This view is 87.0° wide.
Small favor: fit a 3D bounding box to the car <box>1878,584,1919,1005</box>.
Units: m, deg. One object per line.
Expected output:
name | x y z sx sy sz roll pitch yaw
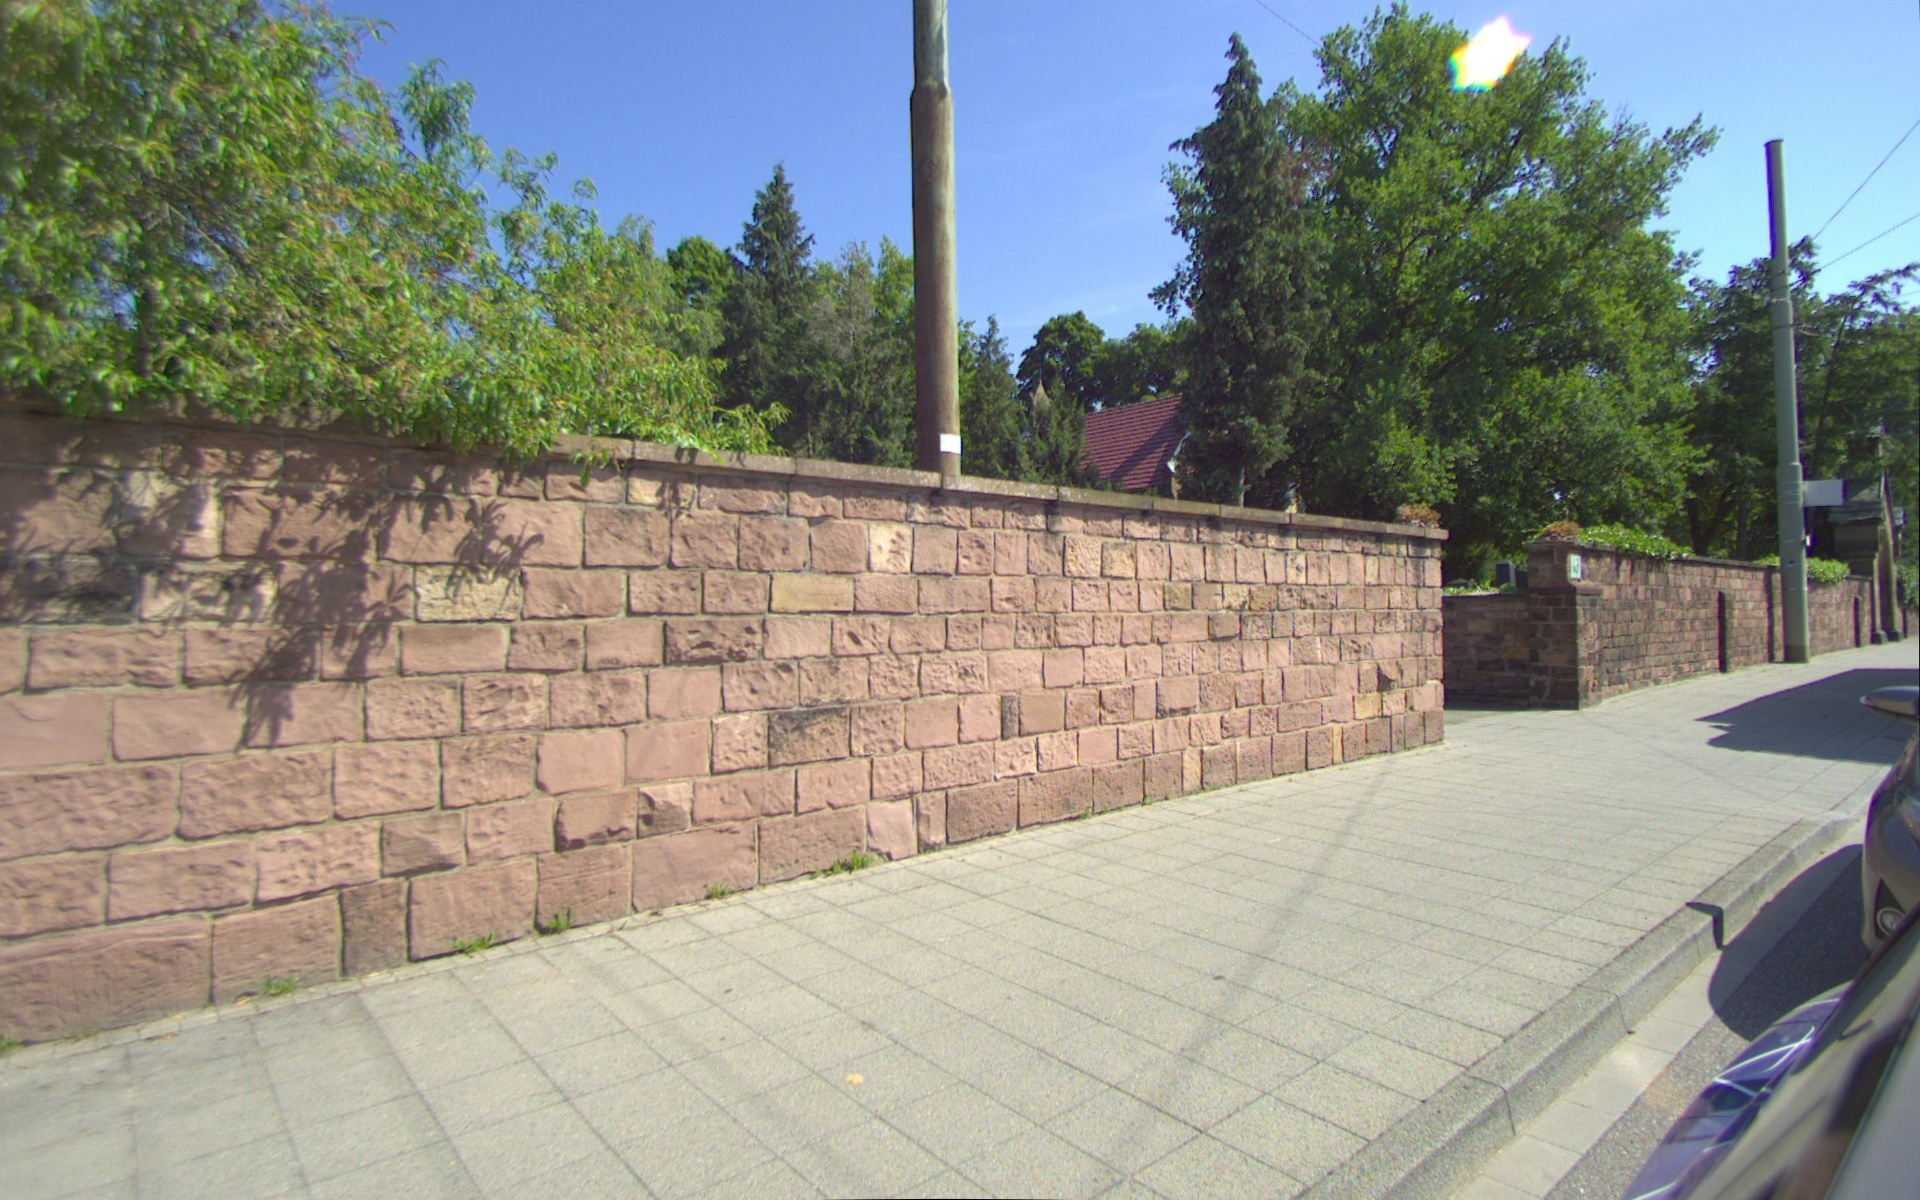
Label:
car | 5.139 0.645 4.114 3.930 1.400 1.653 0 1 -41
